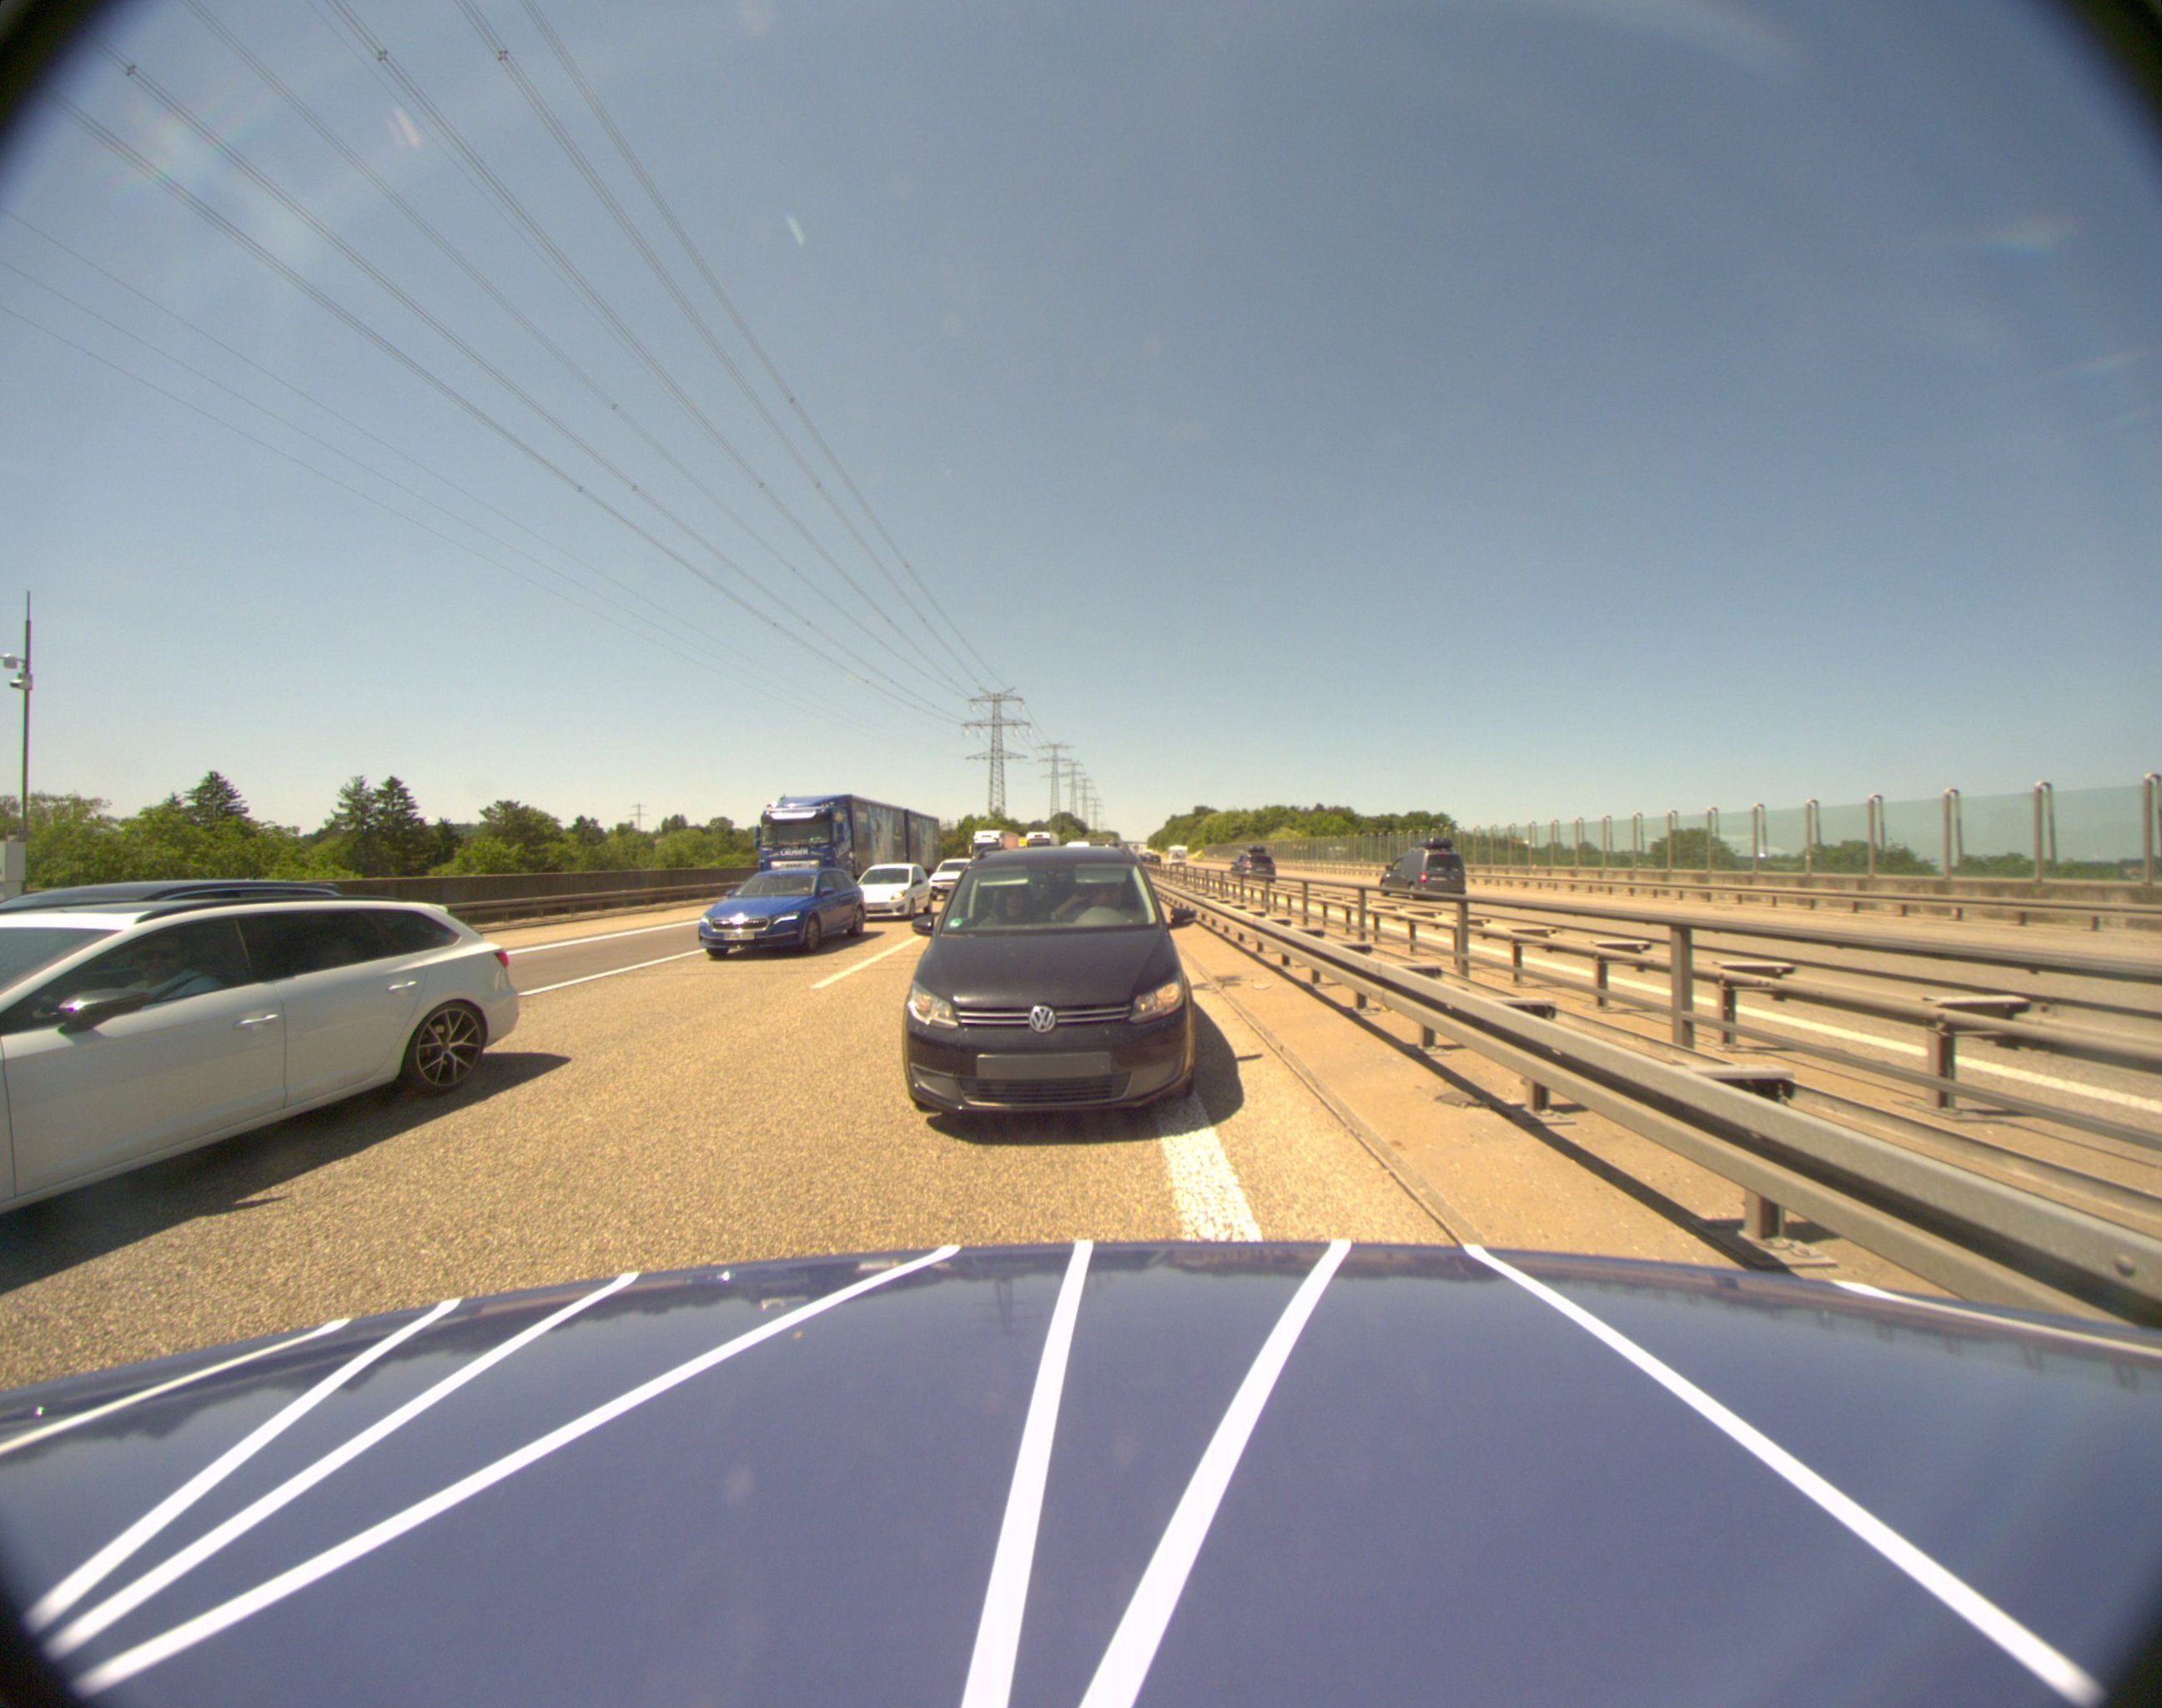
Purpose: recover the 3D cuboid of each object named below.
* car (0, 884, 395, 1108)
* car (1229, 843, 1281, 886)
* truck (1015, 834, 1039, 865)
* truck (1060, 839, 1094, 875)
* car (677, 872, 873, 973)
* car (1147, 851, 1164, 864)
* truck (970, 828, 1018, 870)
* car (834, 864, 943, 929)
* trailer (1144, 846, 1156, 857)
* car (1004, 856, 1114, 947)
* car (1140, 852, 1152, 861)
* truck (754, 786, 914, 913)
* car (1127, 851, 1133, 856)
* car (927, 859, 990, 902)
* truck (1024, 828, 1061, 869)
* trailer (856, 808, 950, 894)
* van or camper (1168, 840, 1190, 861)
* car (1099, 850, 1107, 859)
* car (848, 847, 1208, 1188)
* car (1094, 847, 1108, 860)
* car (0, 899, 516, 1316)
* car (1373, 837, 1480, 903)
[{"bbox_3d":[-8.848,1.144,6.712,1.740,1.518,4.106,-2,0,1],"label":"car"},{"bbox_3d":[9.166,0.525,40.337,1.868,2.118,4.268,1,0,1],"label":"car"},{"bbox_3d":[-7.310,-0.619,103.139,2.346,4.058,8.278,-2,1,1],"label":"truck"},{"bbox_3d":[-0.227,0.197,56.606,2.284,2.479,5.861,-2,0,1],"label":"truck"},{"bbox_3d":[-5.368,1.121,13.988,1.739,1.437,4.211,-1,0,2],"label":"car"},{"bbox_3d":[10.394,0.439,106.343,1.872,1.690,4.430,1,0,0],"label":"car"},{"bbox_3d":[-7.997,-0.453,71.206,2.985,3.538,10.967,-2,1,1],"label":"truck"},{"bbox_3d":[-5.088,1.063,20.641,1.762,1.495,4.095,-1,0,2],"label":"car"},{"bbox_3d":[17.286,-0.595,190.740,2.499,2.534,6.774,1,0,1],"label":"trailer"},{"bbox_3d":[-0.346,0.822,15.148,1.845,1.495,4.377,-1,0,1],"label":"car"},{"bbox_3d":[11.921,0.447,139.060,1.872,1.523,4.424,2,0,1],"label":"car"},{"bbox_3d":[-9.153,-0.163,29.829,2.529,4.043,10.447,-1,0,1],"label":"truck"},{"bbox_3d":[15.286,-0.027,236.942,1.672,1.439,4.000,2,0,2],"label":"car"},{"bbox_3d":[-4.714,0.963,29.699,1.763,1.495,4.094,-1,0,0],"label":"car"},{"bbox_3d":[-3.772,-0.558,77.398,2.980,3.832,10.561,-2,1,1],"label":"truck"},{"bbox_3d":[-8.941,-0.165,39.313,2.572,3.922,8.479,-1,0,1],"label":"trailer"},{"bbox_3d":[14.710,-0.455,114.173,2.428,3.006,7.026,1,0,1],"label":"van or camper"},{"bbox_3d":[5.195,0.037,176.782,1.805,2.002,4.000,-1,0,1],"label":"car"},{"bbox_3d":[-0.250,0.807,5.804,1.740,1.652,3.999,-2,1,0],"label":"car"},{"bbox_3d":[3.191,-0.064,121.505,1.998,2.002,4.000,-2,1,1],"label":"car"},{"bbox_3d":[-5.256,1.128,3.767,1.843,1.481,4.071,-2,0,-1],"label":"car"},{"bbox_3d":[12.704,0.543,28.242,1.998,2.203,4.268,1,0,0],"label":"car"}]
